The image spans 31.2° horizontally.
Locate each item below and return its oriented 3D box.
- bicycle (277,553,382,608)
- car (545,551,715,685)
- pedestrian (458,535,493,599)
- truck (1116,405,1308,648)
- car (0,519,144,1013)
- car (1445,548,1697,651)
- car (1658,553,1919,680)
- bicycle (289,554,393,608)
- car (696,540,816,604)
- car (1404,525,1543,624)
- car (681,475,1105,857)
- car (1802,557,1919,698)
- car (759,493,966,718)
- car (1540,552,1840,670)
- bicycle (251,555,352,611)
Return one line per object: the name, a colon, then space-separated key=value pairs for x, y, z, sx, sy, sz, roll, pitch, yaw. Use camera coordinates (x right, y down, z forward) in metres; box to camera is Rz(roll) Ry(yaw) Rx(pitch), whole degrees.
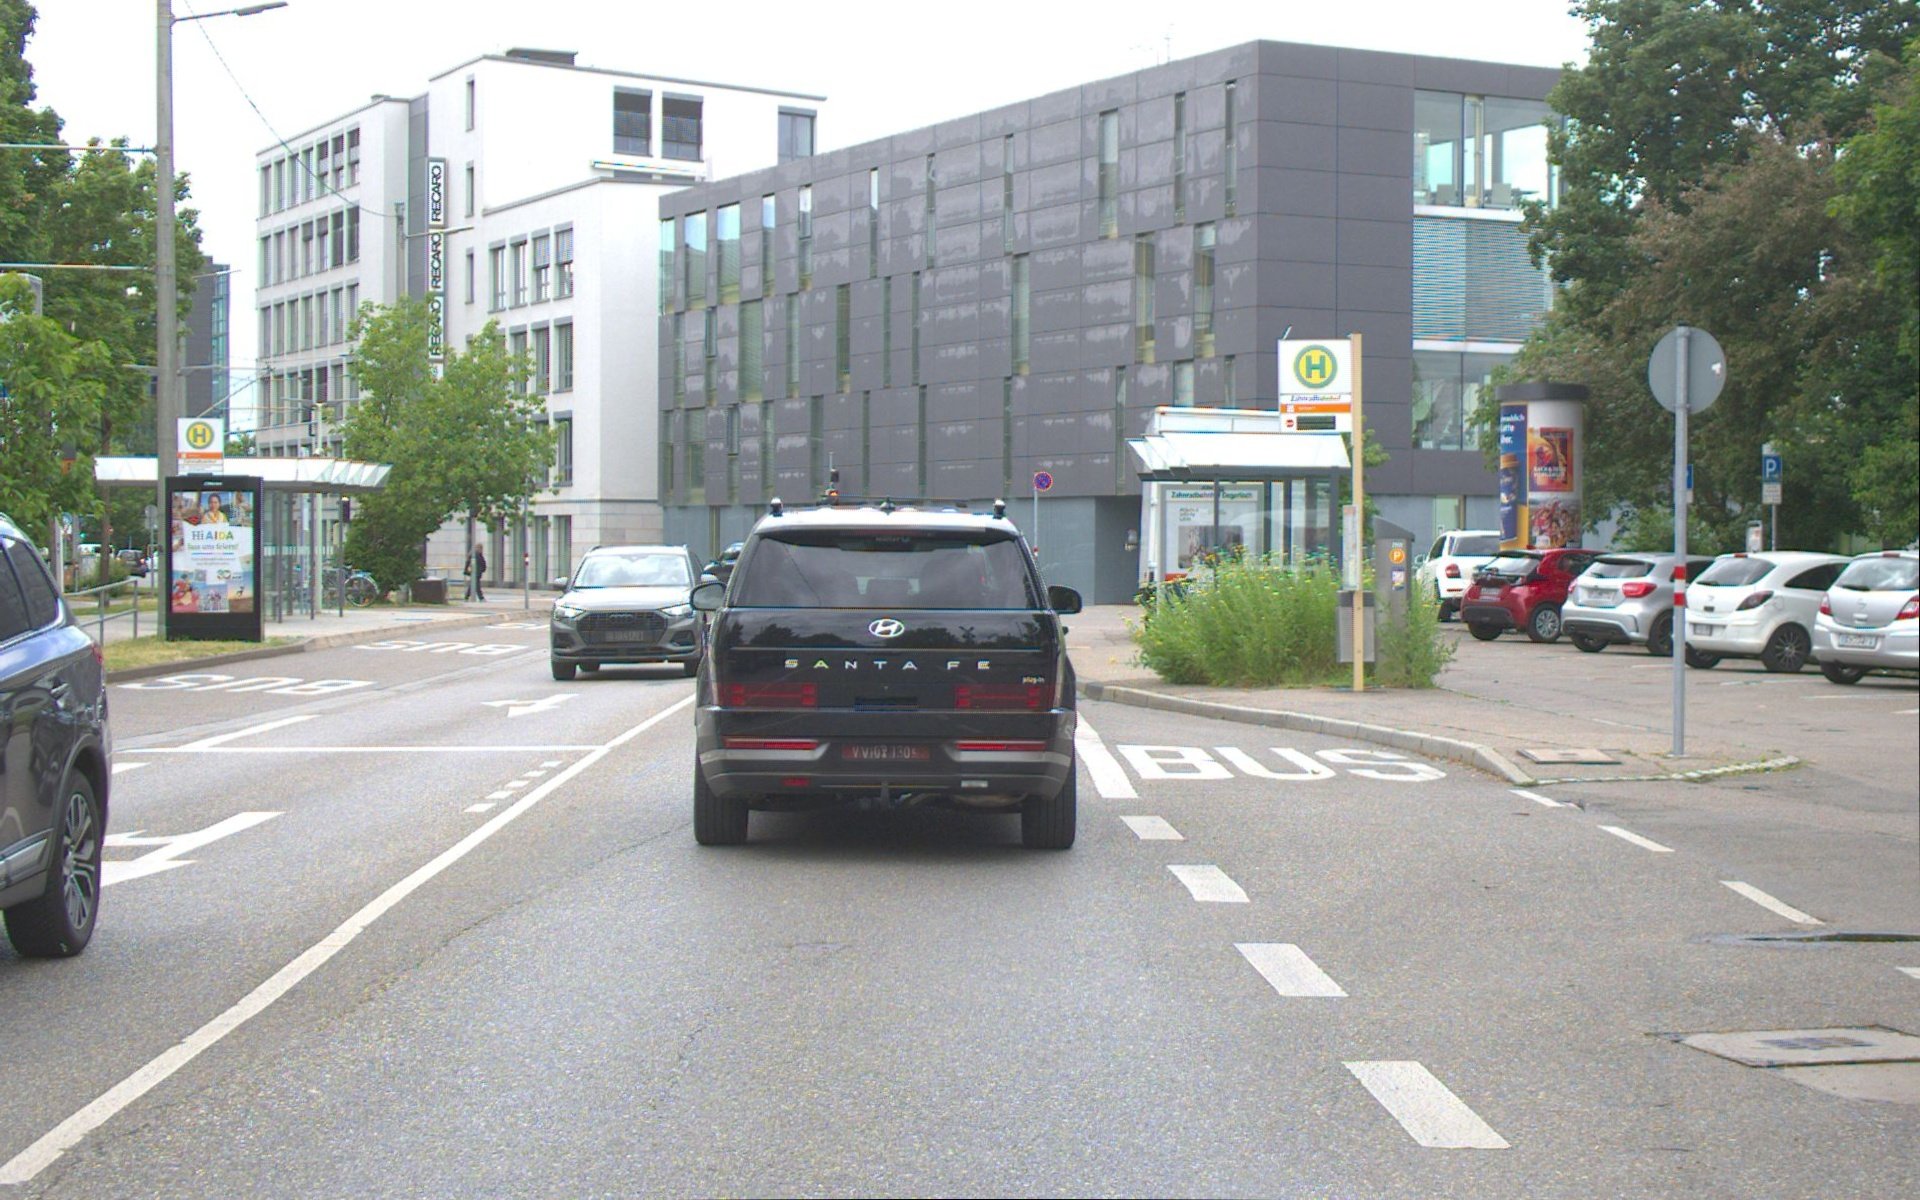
bicycle: x=-13.397 y=-0.416 z=73.077 sx=2.099 sy=1.102 sz=0.631 roll=2 pitch=1 yaw=1
car: x=-4.000 y=0.190 z=42.201 sx=1.739 sy=1.554 sz=4.184 roll=0 pitch=1 yaw=-1
pedestrian: x=-13.778 y=-0.936 z=97.772 sx=0.938 sy=1.794 sz=0.591 roll=0 pitch=1 yaw=-11
truck: x=3.839 y=-1.134 z=53.842 sx=2.573 sy=3.513 sz=7.810 roll=0 pitch=1 yaw=1
car: x=-4.099 y=0.514 z=11.148 sx=1.830 sy=1.664 sz=4.488 roll=3 pitch=0 yaw=-1
car: x=9.405 y=-0.008 z=52.896 sx=3.491 sy=1.450 sz=1.681 roll=2 pitch=0 yaw=-28
car: x=10.426 y=0.186 z=41.639 sx=3.638 sy=1.430 sz=1.592 roll=-2 pitch=0 yaw=-27
bicycle: x=-13.282 y=-0.411 z=73.798 sx=2.099 sy=1.102 sz=0.631 roll=2 pitch=1 yaw=2
car: x=-5.579 y=-0.759 z=93.579 sx=1.847 sy=1.671 sz=4.376 roll=-1 pitch=1 yaw=-24
car: x=10.019 y=-0.488 z=67.399 sx=1.993 sy=1.831 sz=4.518 roll=-1 pitch=0 yaw=0
car: x=-0.406 y=0.276 z=18.108 sx=1.915 sy=1.719 sz=4.171 roll=2 pitch=1 yaw=-3
car: x=10.817 y=0.255 z=36.598 sx=3.505 sy=1.373 sz=1.547 roll=-1 pitch=3 yaw=-31
car: x=-0.946 y=0.007 z=33.257 sx=1.855 sy=2.026 sz=4.438 roll=0 pitch=1 yaw=-2
car: x=10.125 y=0.159 z=47.634 sx=3.790 sy=1.469 sz=1.798 roll=2 pitch=0 yaw=-30
bicycle: x=-13.548 y=-0.353 z=70.760 sx=1.928 sy=1.102 sz=0.587 roll=2 pitch=1 yaw=1
